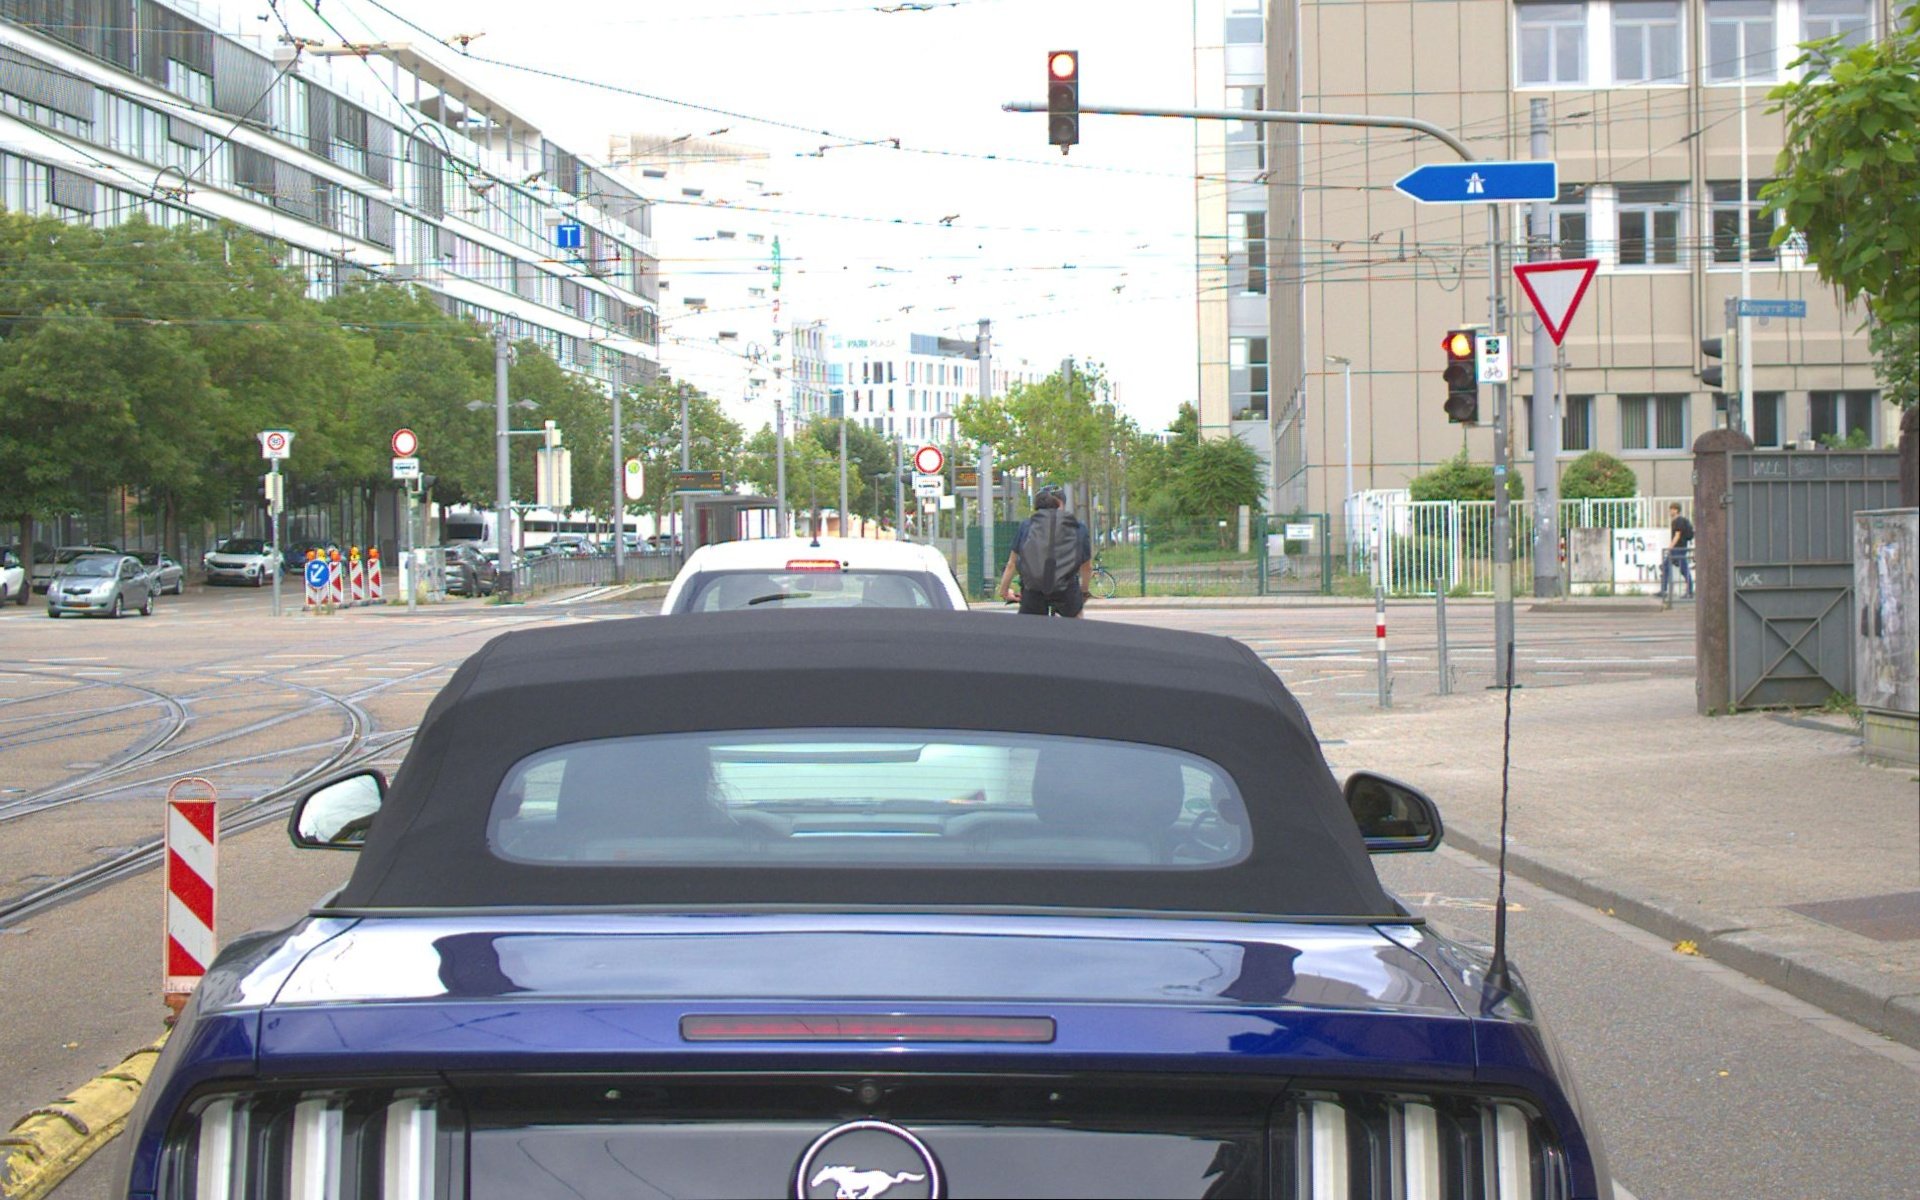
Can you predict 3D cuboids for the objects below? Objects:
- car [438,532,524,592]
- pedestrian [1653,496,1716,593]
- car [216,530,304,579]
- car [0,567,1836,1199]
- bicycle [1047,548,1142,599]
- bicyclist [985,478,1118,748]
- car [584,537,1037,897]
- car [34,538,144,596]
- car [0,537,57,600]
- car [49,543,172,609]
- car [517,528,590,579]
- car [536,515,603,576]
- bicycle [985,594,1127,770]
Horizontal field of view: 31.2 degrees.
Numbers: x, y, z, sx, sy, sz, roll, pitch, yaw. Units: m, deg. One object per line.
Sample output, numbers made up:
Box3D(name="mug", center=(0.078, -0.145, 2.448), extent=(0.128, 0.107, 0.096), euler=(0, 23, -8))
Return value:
Box3D(name="car", center=(-13.517, -1.093, 97.262), extent=(1.879, 1.623, 4.087), euler=(-1, 1, -1))
Box3D(name="pedestrian", center=(14.321, -1.094, 67.948), extent=(1.086, 1.891, 0.902), euler=(-1, 1, 5))
Box3D(name="car", center=(-23.673, -1.563, 116.353), extent=(1.986, 1.551, 4.512), euler=(1, 1, 1))
Box3D(name="car", center=(-0.135, 0.684, 5.379), extent=(1.876, 1.399, 4.282), euler=(1, 1, 0))
Box3D(name="bicycle", center=(2.837, -0.557, 72.731), extent=(0.632, 0.977, 2.157), euler=(-2, -1, -42))
Box3D(name="bicyclist", center=(0.615, 0.073, 23.464), extent=(0.796, 1.779, 1.233), euler=(-1, 1, -2))
Box3D(name="car", center=(-0.781, 0.440, 16.193), extent=(1.835, 1.434, 4.188), euler=(-1, 1, -5))
Box3D(name="car", center=(-24.846, -0.956, 98.162), extent=(1.830, 1.551, 4.216), euler=(1, 1, 3))
Box3D(name="car", center=(-25.496, -0.857, 90.989), extent=(1.830, 1.551, 4.216), euler=(1, 1, 3))
Box3D(name="car", center=(-20.486, -0.603, 83.034), extent=(1.668, 1.501, 4.234), euler=(1, 1, 3))
Box3D(name="car", center=(-13.096, -1.510, 110.910), extent=(1.868, 1.600, 4.213), euler=(-1, 1, -1))
Box3D(name="car", center=(-13.140, -1.844, 115.955), extent=(1.785, 1.980, 4.121), euler=(-1, 1, -1))
Box3D(name="bicycle", center=(0.630, 0.528, 23.301), extent=(0.800, 1.082, 2.132), euler=(-1, 1, -2))
